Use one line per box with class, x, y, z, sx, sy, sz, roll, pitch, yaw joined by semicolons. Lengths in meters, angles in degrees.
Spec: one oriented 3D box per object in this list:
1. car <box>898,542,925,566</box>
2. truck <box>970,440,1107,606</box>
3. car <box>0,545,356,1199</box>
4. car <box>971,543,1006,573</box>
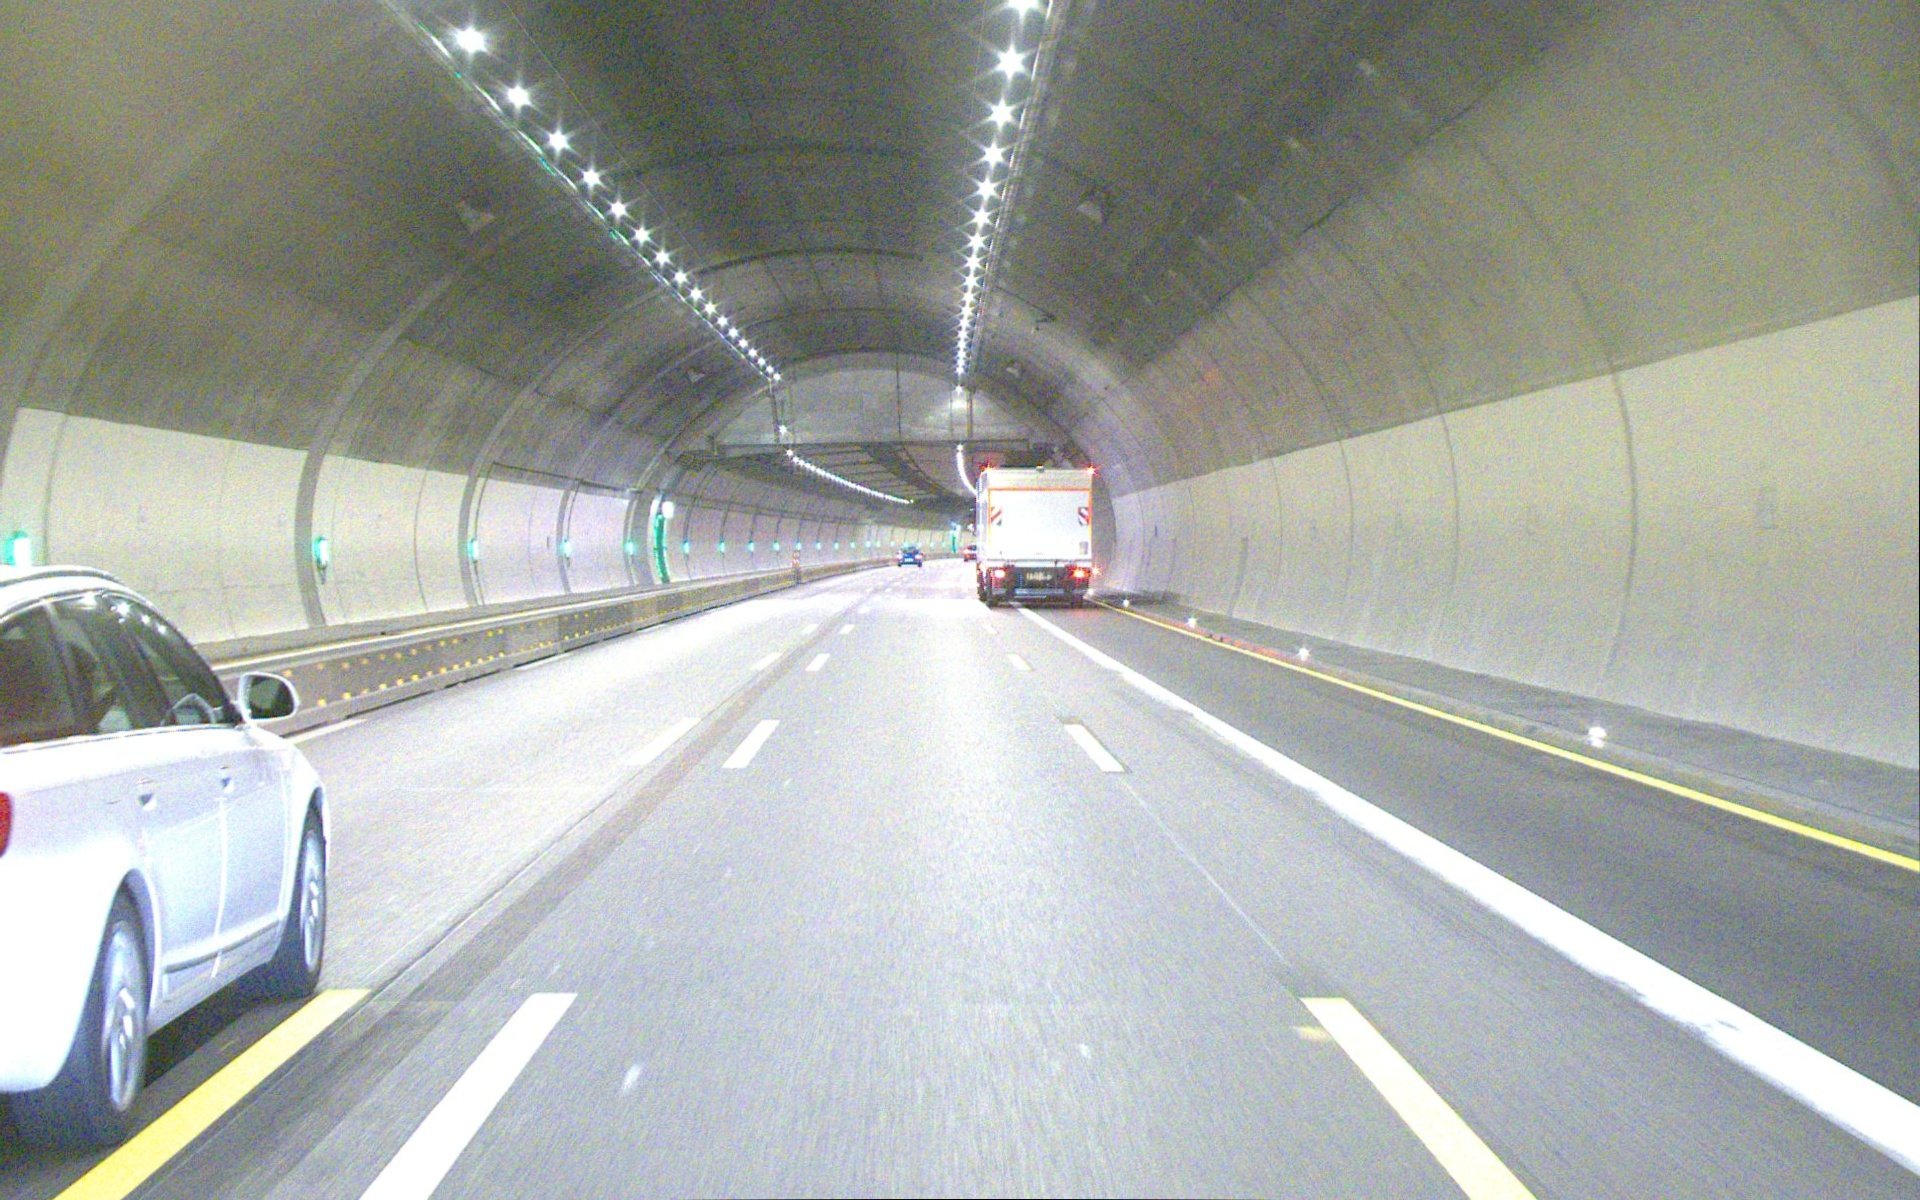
car;-3.248;-3.109;231.173;1.758;1.456;4.119;-2;2;0
truck;1.888;-1.868;87.132;3.092;3.904;10.368;-1;0;0
car;-3.042;0.590;9.693;1.903;1.480;4.944;0;1;-1
car;1.479;-2.167;176.690;1.739;1.456;3.960;-2;2;1
